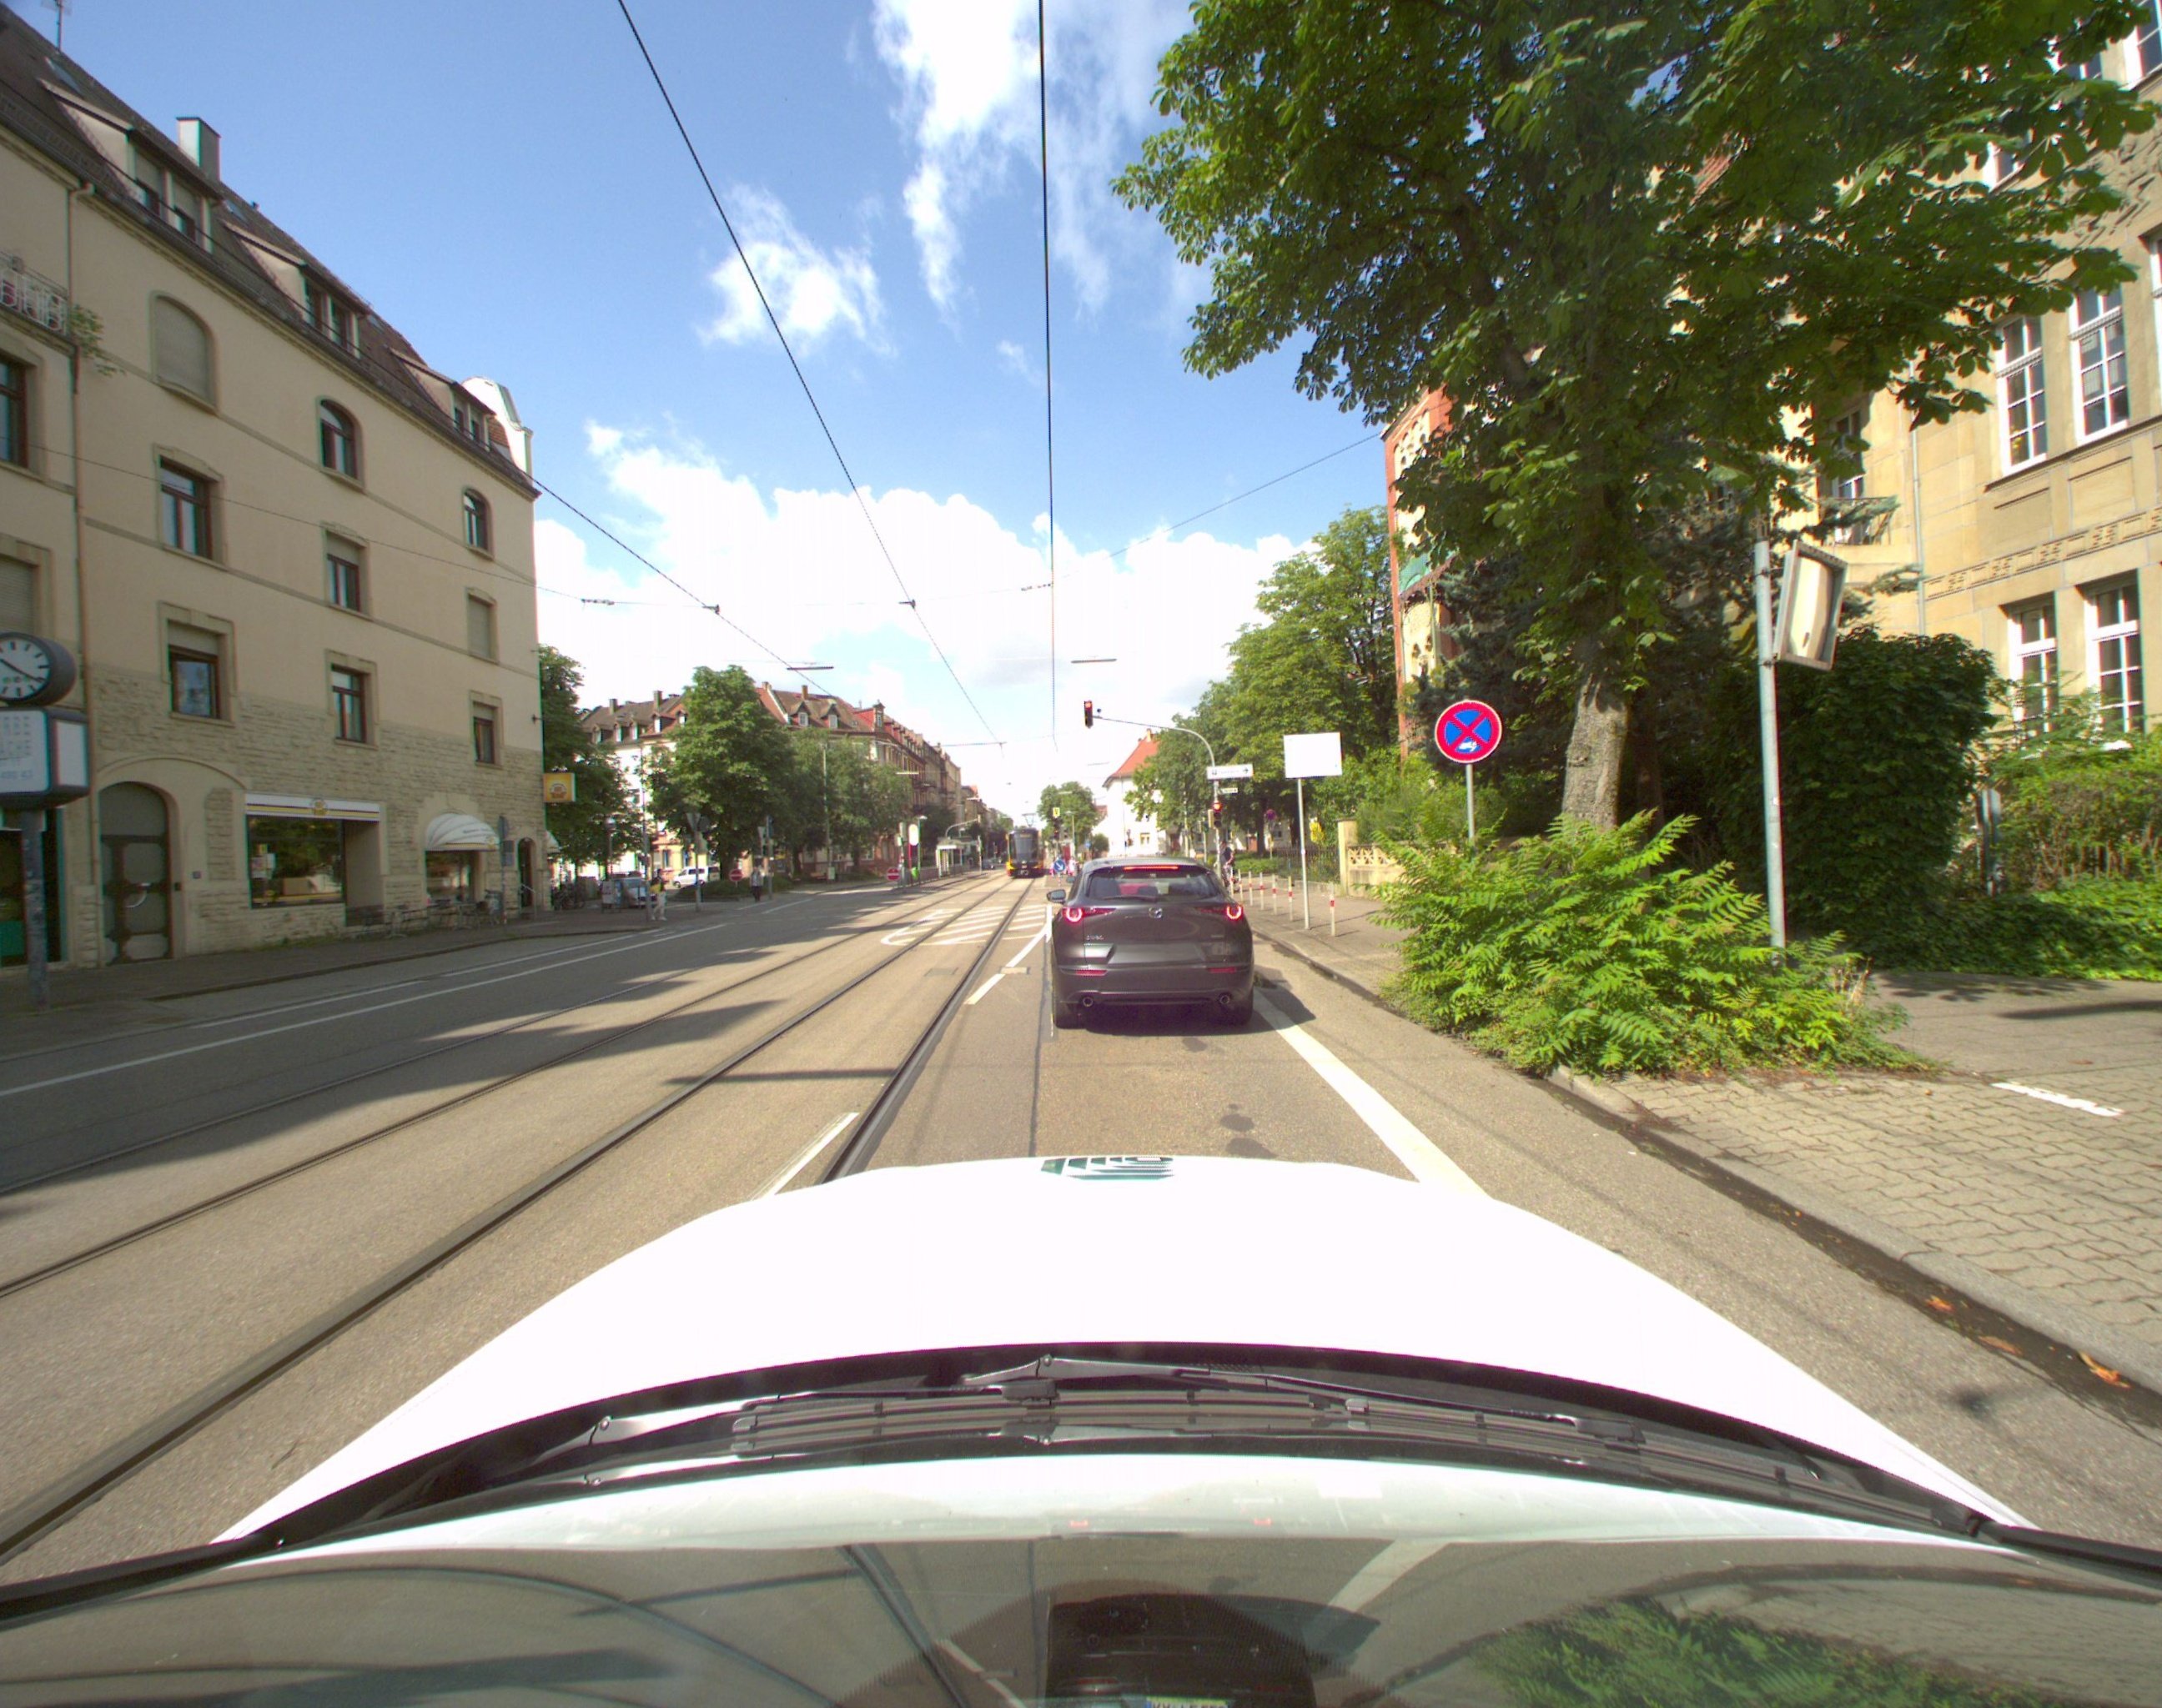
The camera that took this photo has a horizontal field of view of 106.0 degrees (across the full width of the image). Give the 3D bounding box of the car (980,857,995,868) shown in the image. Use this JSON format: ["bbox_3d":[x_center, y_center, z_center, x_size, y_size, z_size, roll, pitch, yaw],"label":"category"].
[{"bbox_3d":[-11.957,1.097,104.037,1.610,1.310,3.625,-3,0,-2],"label":"car"}]

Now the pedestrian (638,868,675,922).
[{"bbox_3d":[-14.233,1.358,27.310,0.676,1.754,0.806,-3,0,32],"label":"pedestrian"}]

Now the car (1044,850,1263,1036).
[{"bbox_3d":[0.632,0.721,8.642,1.772,1.499,4.001,-1,0,1],"label":"car"}]

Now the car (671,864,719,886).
[{"bbox_3d":[-37.375,2.009,78.834,3.950,1.903,2.012,-3,0,25],"label":"car"}]

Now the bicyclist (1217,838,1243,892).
[{"bbox_3d":[5.030,0.364,27.587,0.608,1.793,0.656,-2,0,-9],"label":"bicyclist"}]

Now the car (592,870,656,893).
[{"bbox_3d":[-37.371,2.222,66.672,3.972,1.596,2.001,-3,0,1],"label":"car"}]

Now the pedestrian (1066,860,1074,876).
[{"bbox_3d":[-0.682,0.872,50.556,0.379,0.984,0.474,-3,0,-3],"label":"pedestrian"}]

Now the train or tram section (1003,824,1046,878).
[{"bbox_3d":[-4.068,-0.283,61.482,2.746,3.490,14.395,-3,1,-2],"label":"train or tram section"}]

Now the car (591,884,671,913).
[{"bbox_3d":[-21.207,2.100,38.301,3.948,1.182,1.689,-3,0,35],"label":"car"}]

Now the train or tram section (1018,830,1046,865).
[{"bbox_3d":[-5.285,-0.743,90.238,2.746,3.490,14.395,-3,1,-2],"label":"train or tram section"}]

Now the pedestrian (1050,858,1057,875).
[{"bbox_3d":[-1.679,0.764,50.185,0.379,1.071,0.474,-3,0,-3],"label":"pedestrian"}]

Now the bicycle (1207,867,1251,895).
[{"bbox_3d":[5.065,0.913,27.806,1.708,0.824,0.488,-3,0,-40],"label":"bicycle"}]

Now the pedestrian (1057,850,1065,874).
[{"bbox_3d":[-1.232,0.496,50.204,0.449,1.434,0.474,-3,0,-3],"label":"pedestrian"}]

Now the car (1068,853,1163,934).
[{"bbox_3d":[0.692,0.733,17.252,1.772,1.499,4.001,-1,0,1],"label":"car"}]

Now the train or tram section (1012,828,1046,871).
[{"bbox_3d":[-4.678,-0.508,75.857,2.746,3.490,14.395,-3,1,-2],"label":"train or tram section"}]

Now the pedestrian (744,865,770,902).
[{"bbox_3d":[-15.400,1.401,38.733,0.817,1.705,0.720,-3,0,7],"label":"pedestrian"}]
